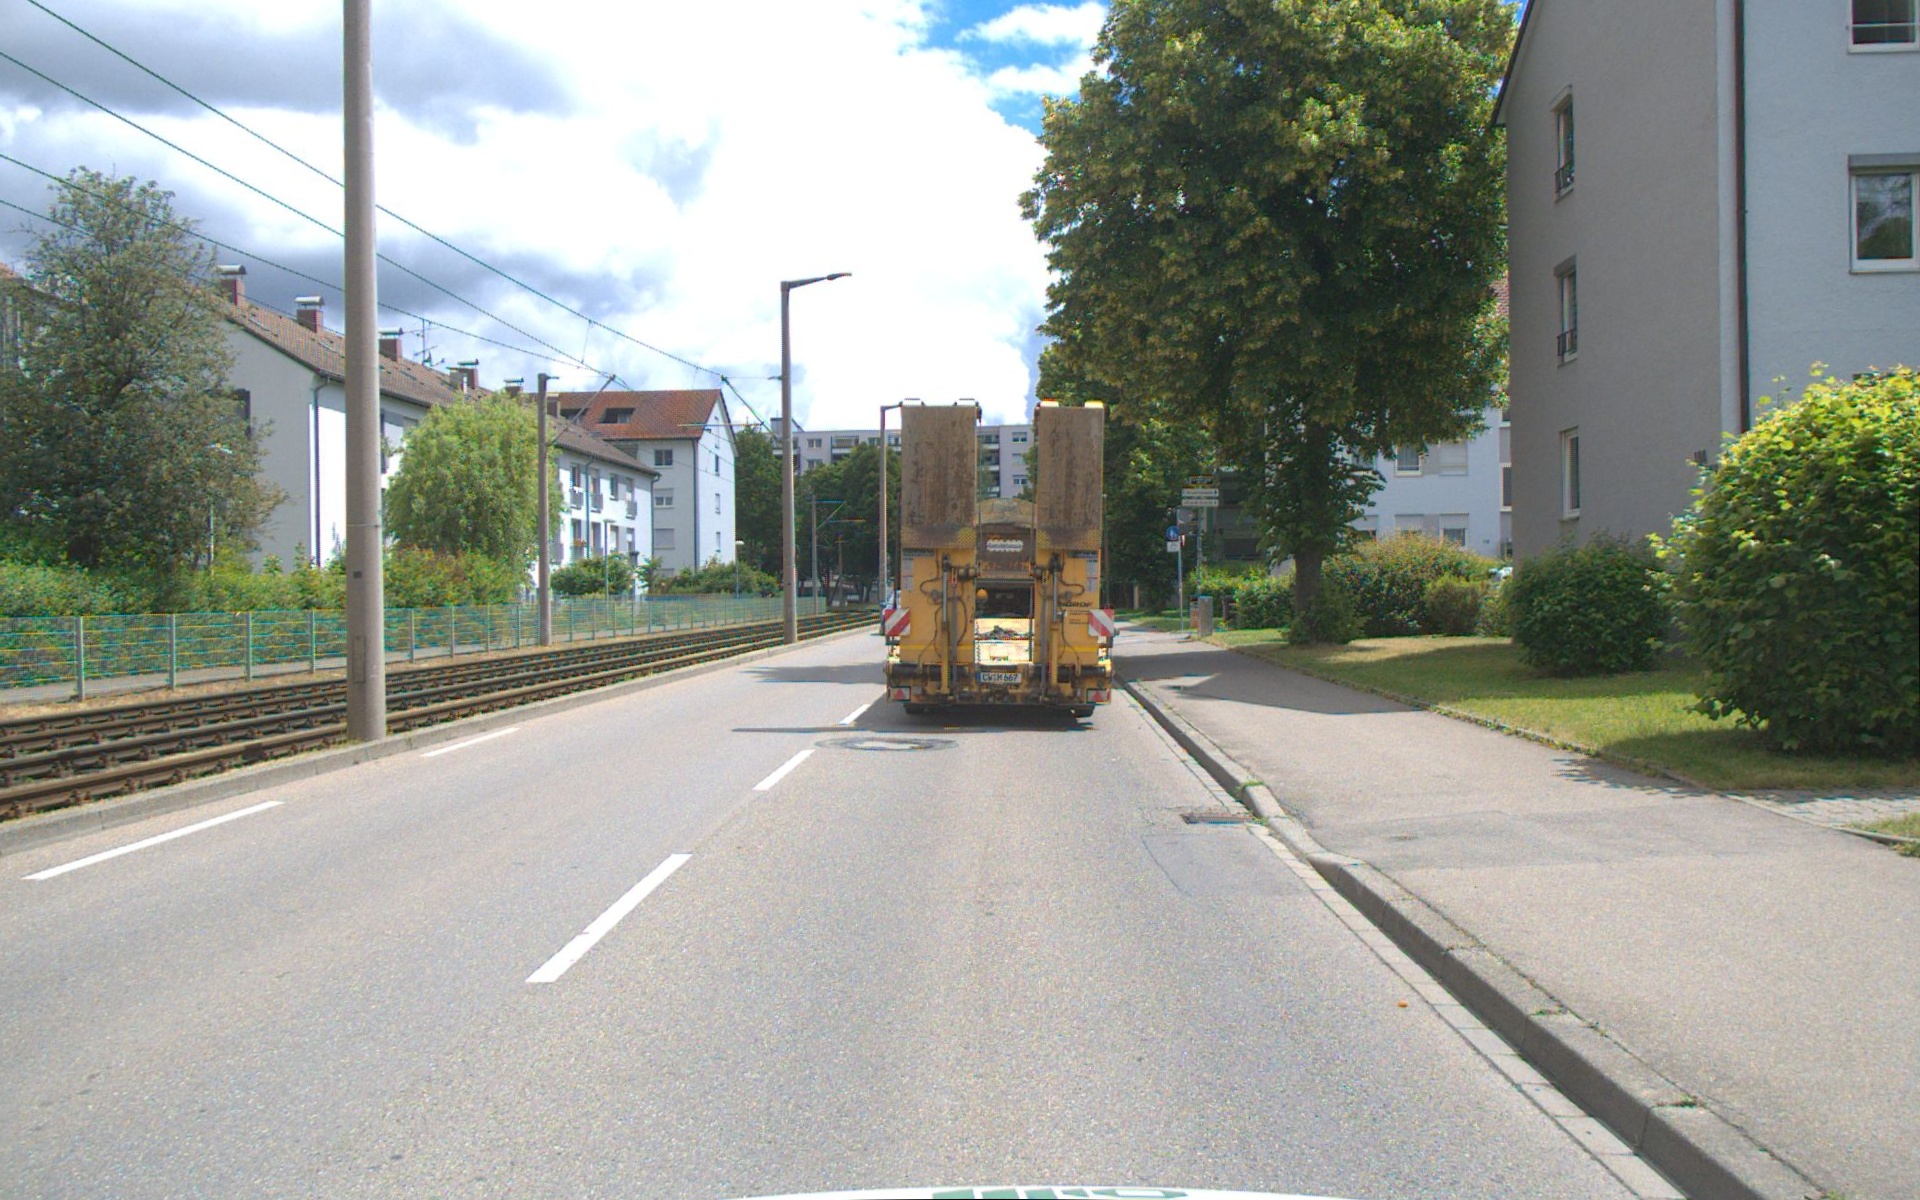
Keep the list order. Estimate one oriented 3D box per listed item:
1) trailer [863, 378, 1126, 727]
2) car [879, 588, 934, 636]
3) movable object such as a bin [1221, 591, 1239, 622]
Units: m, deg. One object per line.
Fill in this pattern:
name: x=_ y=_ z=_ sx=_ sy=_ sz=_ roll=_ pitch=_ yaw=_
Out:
trailer: x=0.260 y=-0.518 z=23.981 sx=2.770 sy=3.709 sz=12.351 roll=1 pitch=0 yaw=-1
car: x=-1.760 y=0.382 z=55.150 sx=1.590 sy=1.552 sz=3.582 roll=0 pitch=0 yaw=2
movable object such as a bin: x=8.648 y=0.211 z=52.977 sx=0.486 sy=0.971 sz=0.580 roll=-2 pitch=0 yaw=2
